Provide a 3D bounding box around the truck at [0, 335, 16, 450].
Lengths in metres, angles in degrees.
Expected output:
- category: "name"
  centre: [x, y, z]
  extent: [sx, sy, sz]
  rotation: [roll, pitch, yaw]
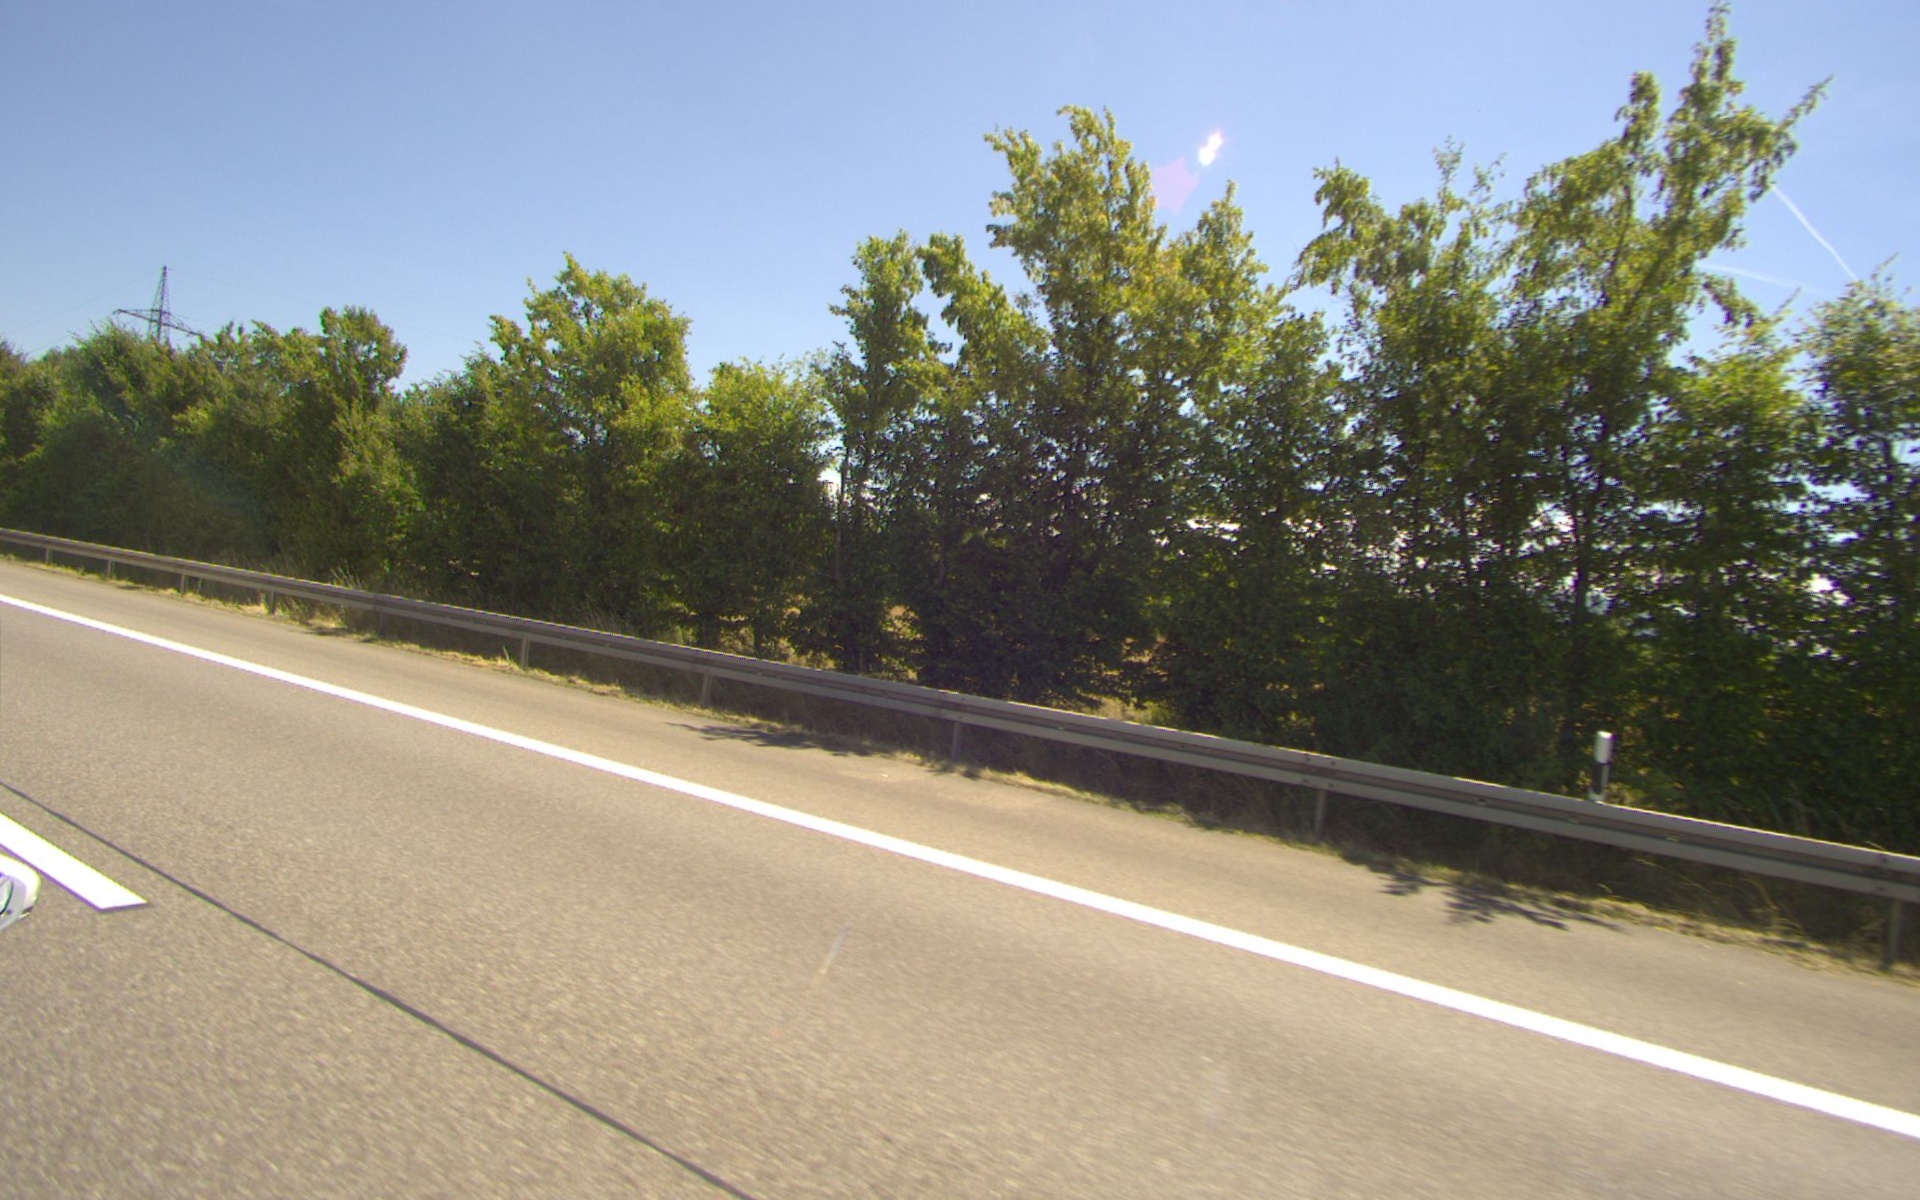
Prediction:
- category: "truck"
  centre: [-21.291, -2.927, 18.324]
  extent: [10.504, 4.248, 2.939]
  rotation: [6, -2, 31]
